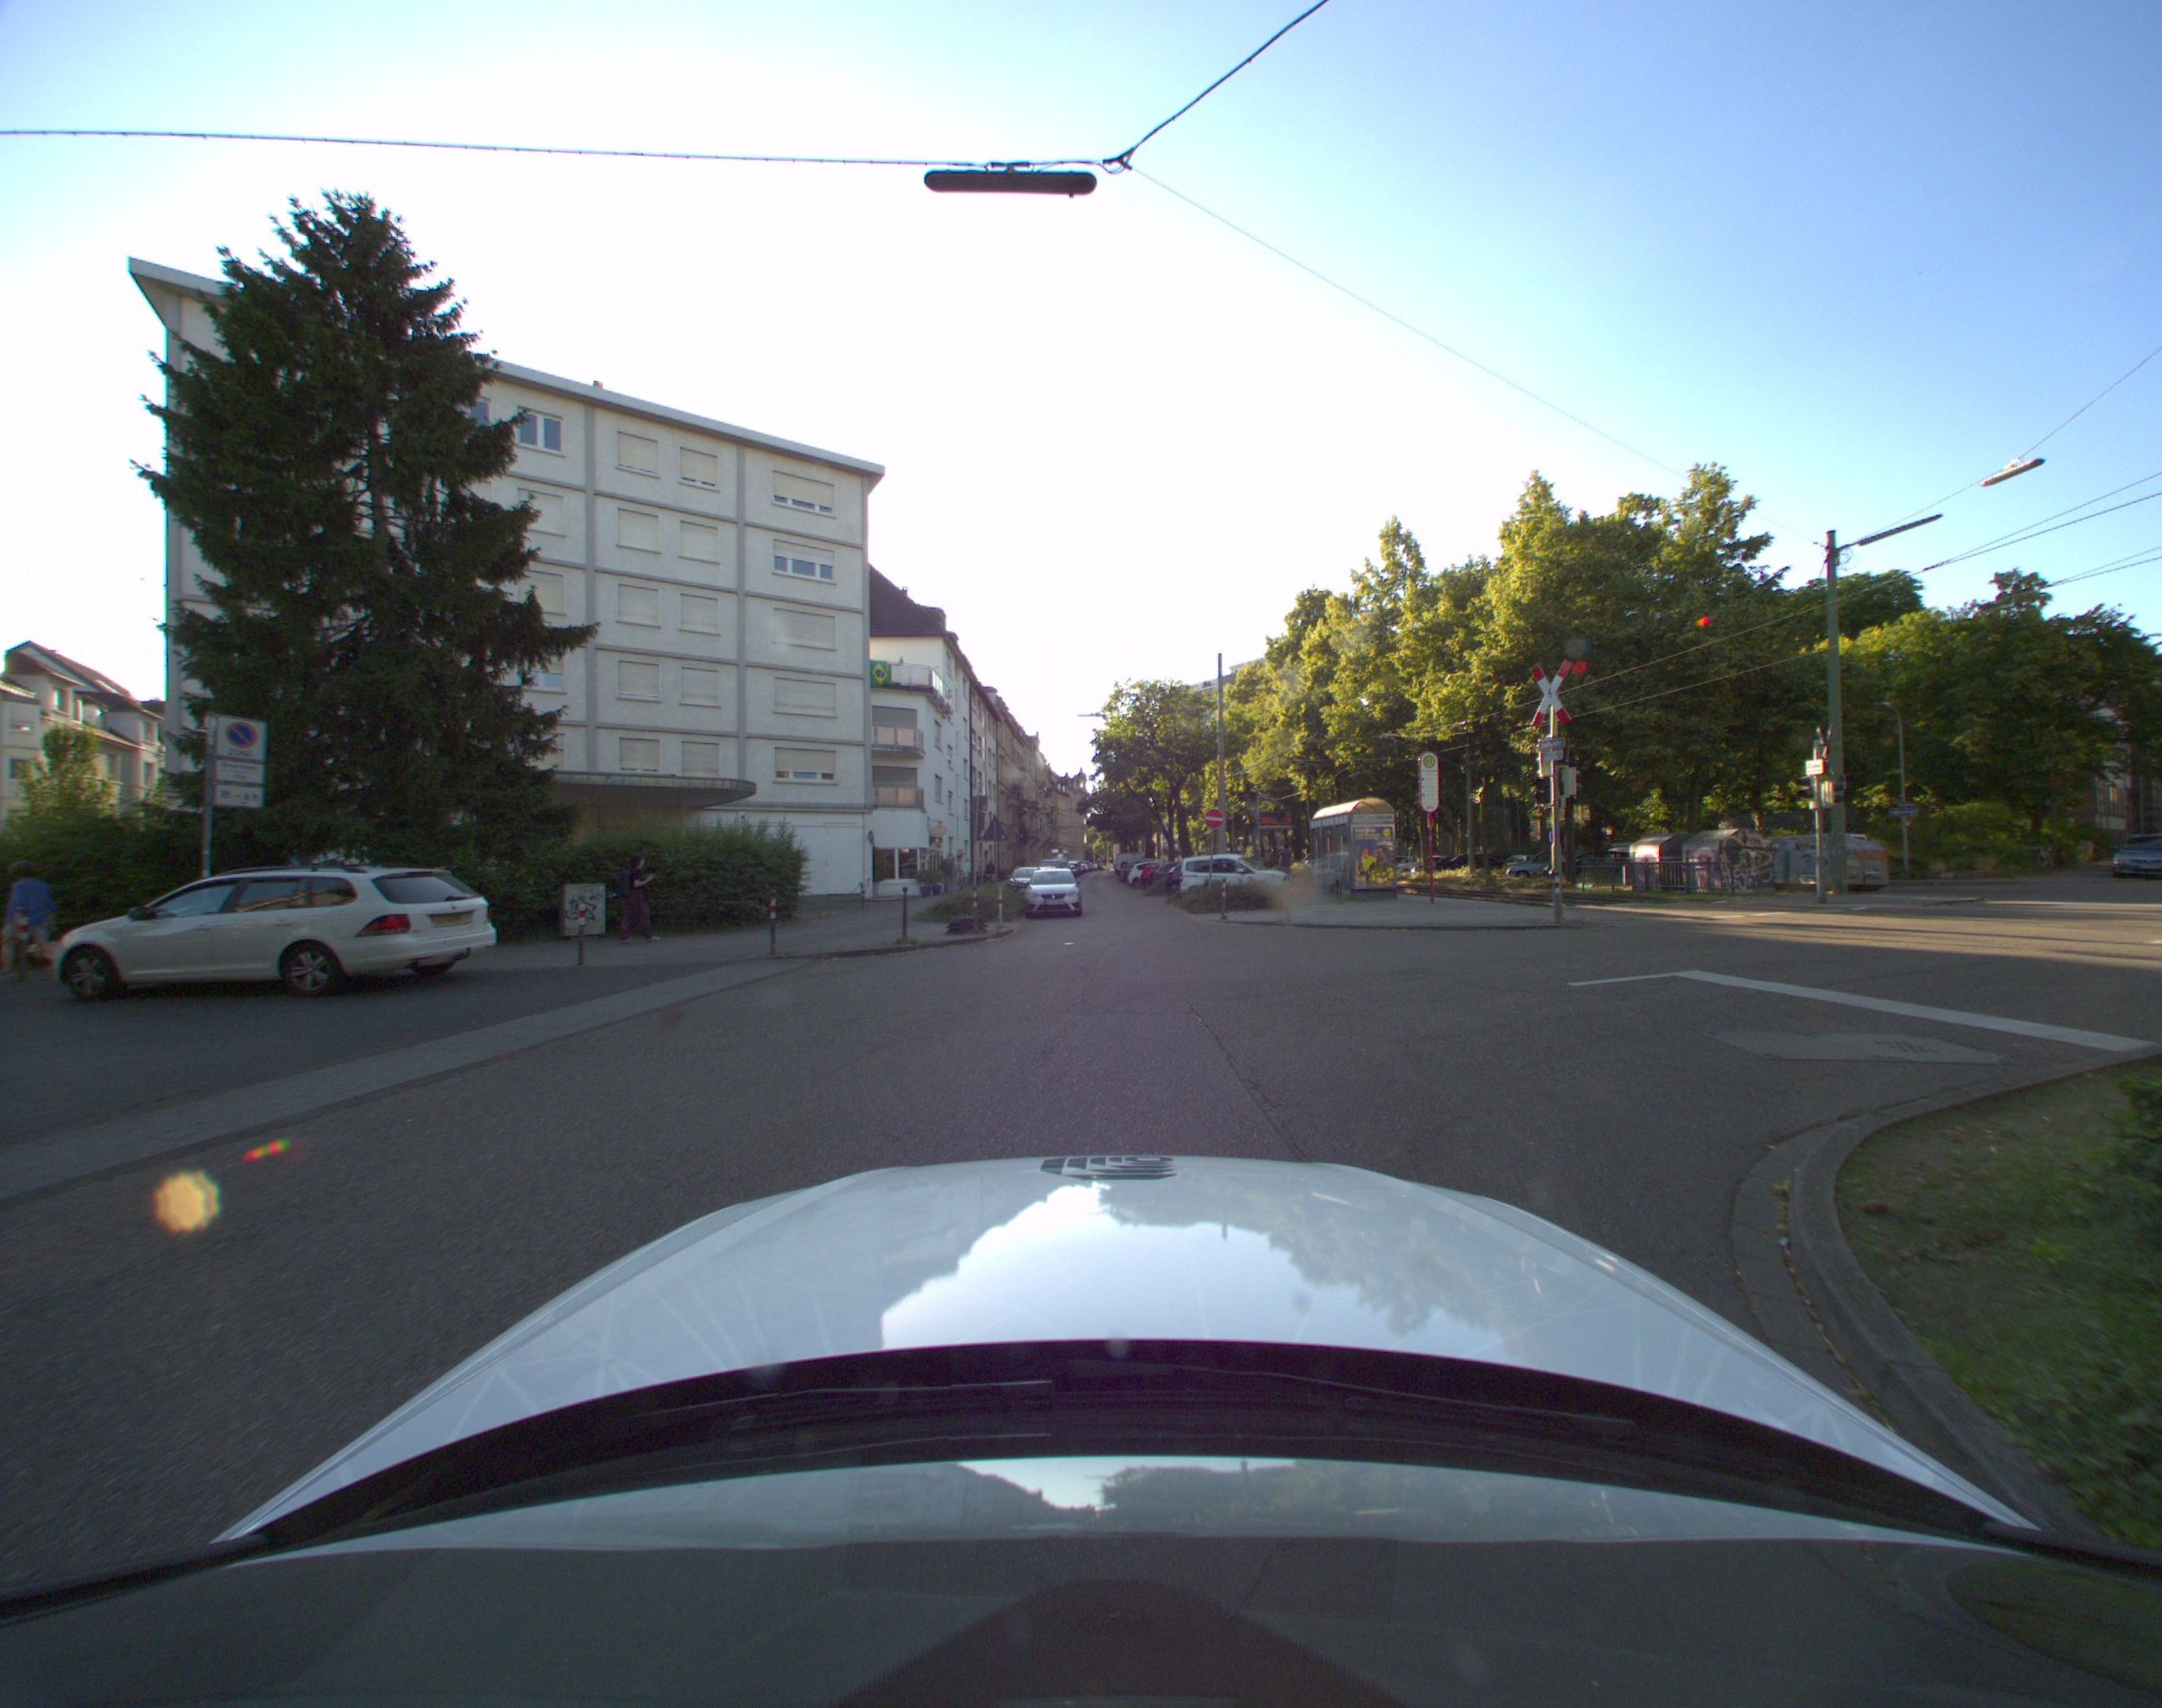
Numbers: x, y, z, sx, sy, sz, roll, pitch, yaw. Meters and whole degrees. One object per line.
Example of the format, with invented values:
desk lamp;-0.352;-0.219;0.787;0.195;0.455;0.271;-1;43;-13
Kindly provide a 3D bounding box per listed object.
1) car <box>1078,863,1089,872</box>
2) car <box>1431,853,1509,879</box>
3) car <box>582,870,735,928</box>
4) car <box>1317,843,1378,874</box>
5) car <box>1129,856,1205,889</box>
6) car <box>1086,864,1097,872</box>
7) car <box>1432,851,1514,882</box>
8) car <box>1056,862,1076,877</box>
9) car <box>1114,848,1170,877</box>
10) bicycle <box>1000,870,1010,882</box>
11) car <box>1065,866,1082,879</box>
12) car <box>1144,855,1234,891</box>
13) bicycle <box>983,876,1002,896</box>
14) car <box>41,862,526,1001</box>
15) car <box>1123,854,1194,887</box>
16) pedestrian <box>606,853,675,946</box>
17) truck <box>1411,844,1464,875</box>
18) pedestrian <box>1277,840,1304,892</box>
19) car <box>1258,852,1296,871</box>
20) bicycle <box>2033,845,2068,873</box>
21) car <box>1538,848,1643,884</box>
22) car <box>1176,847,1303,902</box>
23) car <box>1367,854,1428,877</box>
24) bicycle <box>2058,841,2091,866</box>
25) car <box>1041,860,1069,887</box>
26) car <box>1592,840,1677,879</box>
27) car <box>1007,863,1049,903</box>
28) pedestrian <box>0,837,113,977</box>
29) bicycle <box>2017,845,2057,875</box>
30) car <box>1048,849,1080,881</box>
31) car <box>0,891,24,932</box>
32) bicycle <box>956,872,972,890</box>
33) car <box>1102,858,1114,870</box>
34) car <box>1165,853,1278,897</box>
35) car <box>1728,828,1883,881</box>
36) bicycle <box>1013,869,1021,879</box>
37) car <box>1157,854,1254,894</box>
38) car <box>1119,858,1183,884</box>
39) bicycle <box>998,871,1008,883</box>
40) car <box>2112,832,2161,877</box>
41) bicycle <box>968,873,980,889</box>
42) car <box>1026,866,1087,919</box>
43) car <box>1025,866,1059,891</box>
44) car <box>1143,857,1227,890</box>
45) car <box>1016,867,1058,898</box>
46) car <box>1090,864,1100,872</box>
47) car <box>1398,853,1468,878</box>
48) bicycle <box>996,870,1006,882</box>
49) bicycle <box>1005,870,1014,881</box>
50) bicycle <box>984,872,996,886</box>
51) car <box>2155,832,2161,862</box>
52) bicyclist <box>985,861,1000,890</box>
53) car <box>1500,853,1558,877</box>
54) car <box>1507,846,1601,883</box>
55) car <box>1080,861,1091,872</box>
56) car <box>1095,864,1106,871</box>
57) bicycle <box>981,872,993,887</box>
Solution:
car;0.440;2.372;142.480;1.703;1.446;4.004;-3;0;4
car;21.926;0.687;46.049;3.785;1.391;1.746;1;-2;20
car;-12.857;1.310;24.882;4.012;1.533;1.981;-1;-1;-30
car;22.088;0.388;67.467;4.442;2.476;1.830;1;-2;31
car;5.290;1.128;50.466;4.186;1.651;1.870;-6;-1;37
car;2.074;2.803;160.881;1.702;1.446;4.006;-3;0;5
car;21.023;0.675;43.830;3.785;1.497;1.746;1;-2;20
car;-1.610;1.646;87.125;1.703;1.446;4.004;-3;0;4
car;6.490;0.948;86.569;5.201;2.571;2.287;-6;-1;29
bicycle;-6.954;1.986;74.561;0.624;1.003;2.175;-1;-1;0
car;-0.865;2.125;95.382;1.703;1.446;4.003;-2;0;3
car;5.596;0.988;42.241;4.188;1.458;1.617;-6;-1;25
bicycle;-5.066;1.801;46.713;0.709;1.051;2.348;-2;-1;1
car;-9.776;0.903;10.238;4.263;1.450;1.925;-2;0;3
car;5.090;1.097;53.800;4.186;1.749;1.870;-6;-1;37
pedestrian;-8.449;0.859;15.650;0.825;1.736;0.870;0;-1;0
truck;28.850;0.451;66.072;2.358;2.352;4.384;-1;-1;1
pedestrian;7.963;0.450;30.951;0.840;1.911;0.842;-2;-1;23
car;23.562;0.868;97.808;4.040;2.210;1.830;1;-2;31
bicycle;39.629;0.182;33.276;2.637;1.101;0.592;-1;-1;-34
car;21.610;0.483;34.680;3.575;1.447;1.616;1;0;24
car;5.867;0.759;30.236;4.186;1.653;1.618;-6;-1;31
car;21.439;0.773;55.329;3.785;1.421;1.746;1;-2;20
bicycle;45.054;-0.018;36.929;2.636;1.101;0.592;-1;-1;-32
car;-1.998;1.493;63.963;1.703;1.933;4.004;-2;0;4
car;28.979;0.291;42.772;1.568;1.903;3.895;-1;-1;-5
car;-2.452;1.325;38.398;1.706;1.673;3.998;-2;0;-1
pedestrian;-15.504;0.776;12.192;0.979;2.014;0.863;-1;-1;0
bicycle;37.331;0.238;31.803;2.636;1.101;0.593;-1;-1;-32
car;-1.607;1.072;79.946;2.541;2.887;5.486;-2;0;4
car;-43.599;2.282;30.805;4.012;1.558;1.728;-1;-1;-30
bicycle;-6.924;1.566;48.204;0.529;1.003;2.176;-1;-1;2
car;6.058;2.215;181.376;1.700;2.562;5.581;-3;0;9
car;5.793;0.874;33.585;4.153;1.436;1.711;-6;-1;25
car;29.811;0.060;33.747;1.942;2.003;4.647;-1;-1;-7
bicycle;-6.899;2.124;87.342;0.624;1.003;2.175;-1;-1;0
car;5.932;0.945;38.850;4.188;1.508;1.617;-6;-1;25
car;5.129;1.265;59.902;4.187;1.473;1.869;-6;-1;29
bicycle;-6.630;1.939;69.179;0.624;1.003;2.175;-1;-1;0
car;40.576;-0.010;30.631;4.307;1.614;1.813;-1;2;-33
bicycle;-7.202;1.778;54.793;0.529;1.003;2.175;-1;-1;0
car;-0.830;1.156;25.771;1.707;1.446;3.995;-2;0;-4
car;-2.518;1.602;53.596;1.703;1.446;4.004;-3;0;4
car;5.713;1.077;44.973;4.188;1.458;1.617;-6;-1;25
car;-2.287;1.478;42.999;1.703;1.446;4.004;-3;0;4
car;2.858;2.901;166.267;1.701;1.446;4.008;-3;0;7
car;21.240;0.713;49.337;3.785;1.391;1.746;1;-2;20
bicycle;-7.100;1.964;72.071;0.624;1.003;2.175;-1;-1;0
bicycle;-6.786;2.028;77.769;0.624;1.003;2.175;-1;-1;0
bicycle;-6.939;1.869;62.301;0.624;1.003;2.175;-1;-1;0
car;56.038;-0.364;41.162;3.946;1.500;1.813;-1;2;-33
bicyclist;-5.084;1.209;46.692;0.709;1.617;0.724;-1;-1;1
car;28.892;0.706;52.621;1.567;1.467;3.596;-1;-1;-3
car;21.614;0.456;37.384;3.575;1.562;1.617;1;0;24
car;0.809;2.272;150.921;1.702;1.820;4.006;-3;0;5
car;4.036;2.872;171.156;1.700;1.446;4.010;-3;0;9
bicycle;-6.786;1.826;58.764;0.624;1.003;2.175;-1;-1;0
